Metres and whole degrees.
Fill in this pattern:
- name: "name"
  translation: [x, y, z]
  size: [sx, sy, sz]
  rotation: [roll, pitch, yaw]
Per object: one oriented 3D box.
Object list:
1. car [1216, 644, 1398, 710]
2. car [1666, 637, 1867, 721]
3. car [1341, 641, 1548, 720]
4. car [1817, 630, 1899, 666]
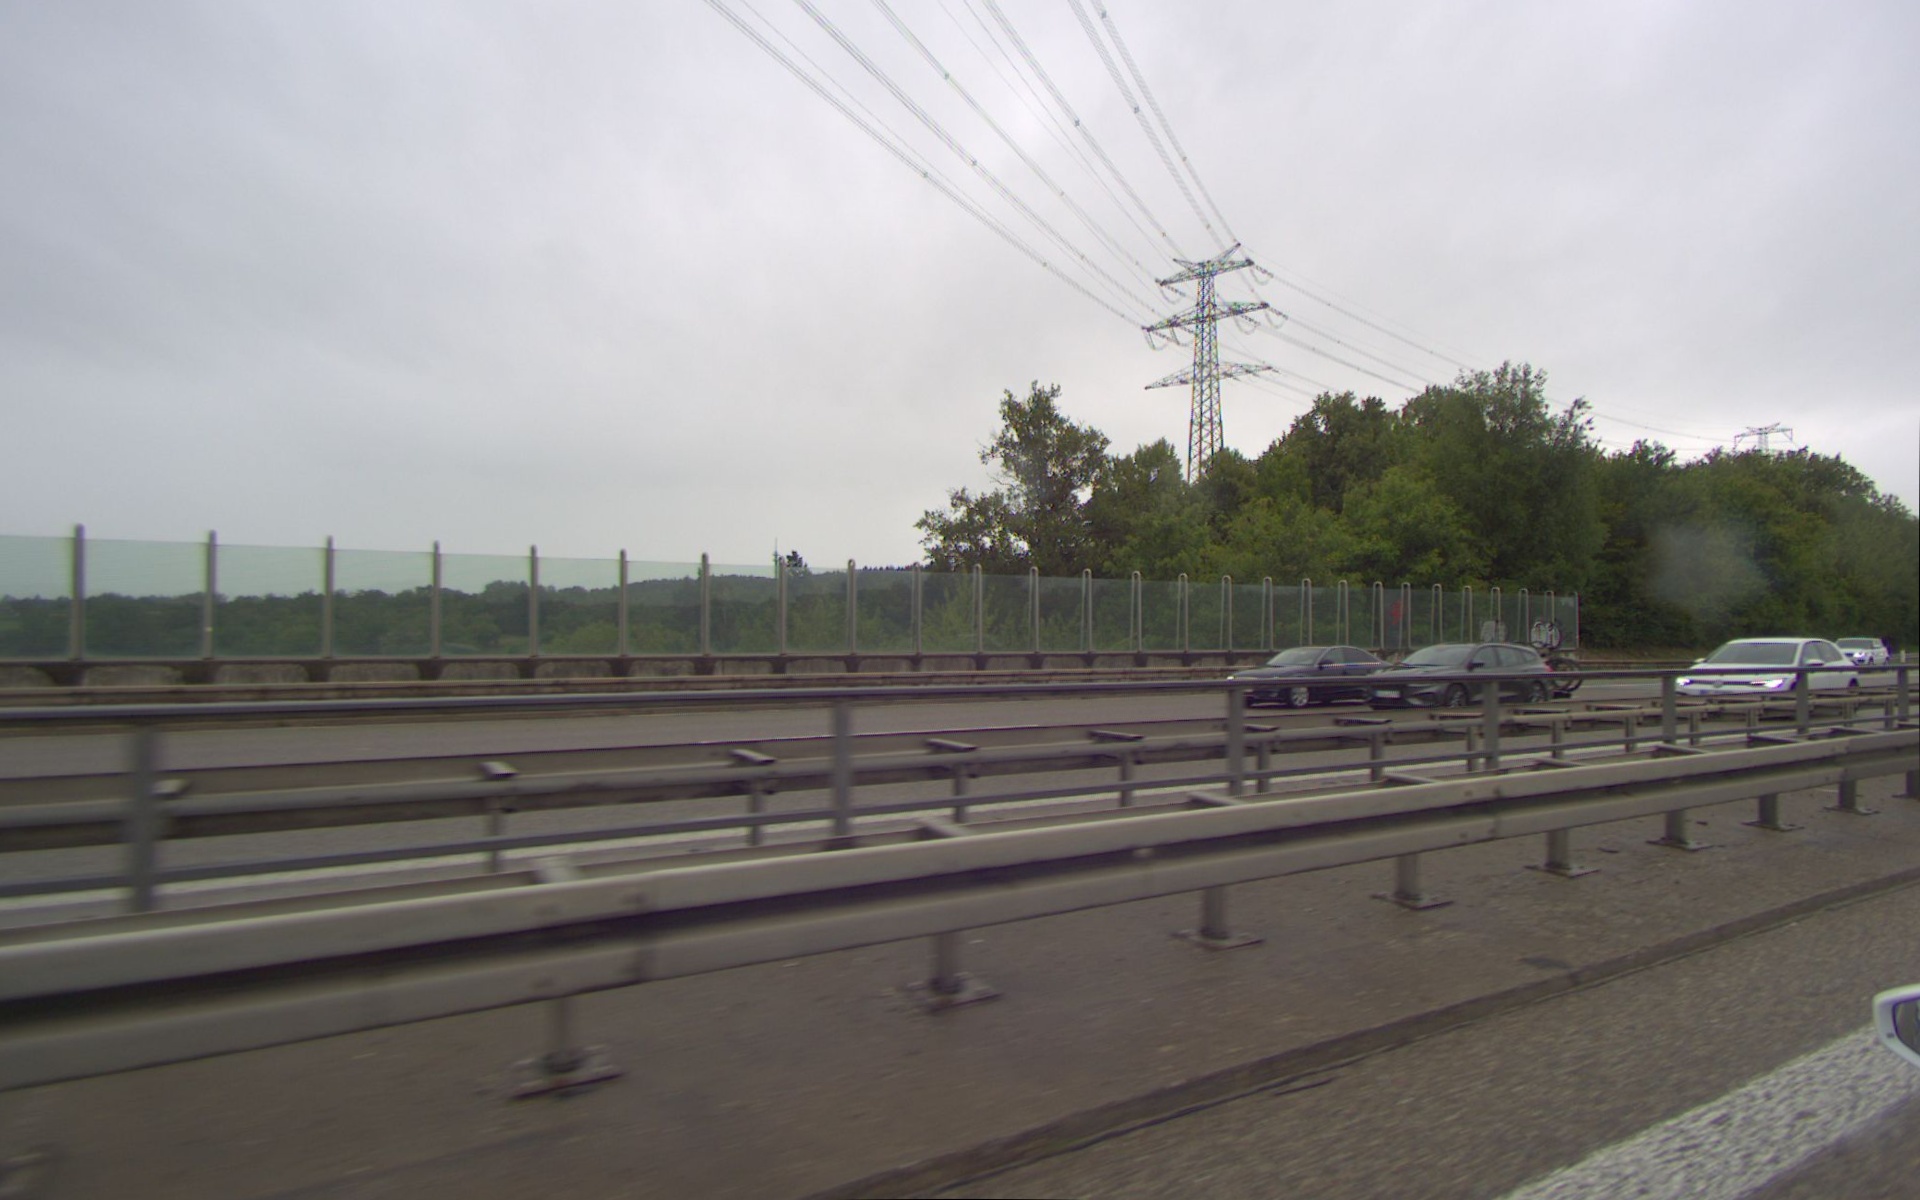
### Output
- name: "car"
  translation: [8.083, 1.729, 23.339]
  size: [4.041, 1.407, 1.808]
  rotation: [1, -3, -30]
- name: "car"
  translation: [15.391, 1.445, 19.132]
  size: [4.041, 1.455, 1.649]
  rotation: [1, -3, -30]
- name: "car"
  translation: [9.780, 1.554, 20.232]
  size: [4.041, 1.455, 1.808]
  rotation: [1, -3, -30]
- name: "car"
  translation: [48.153, 2.526, 53.834]
  size: [4.861, 1.843, 1.939]
  rotation: [1, -2, -32]
